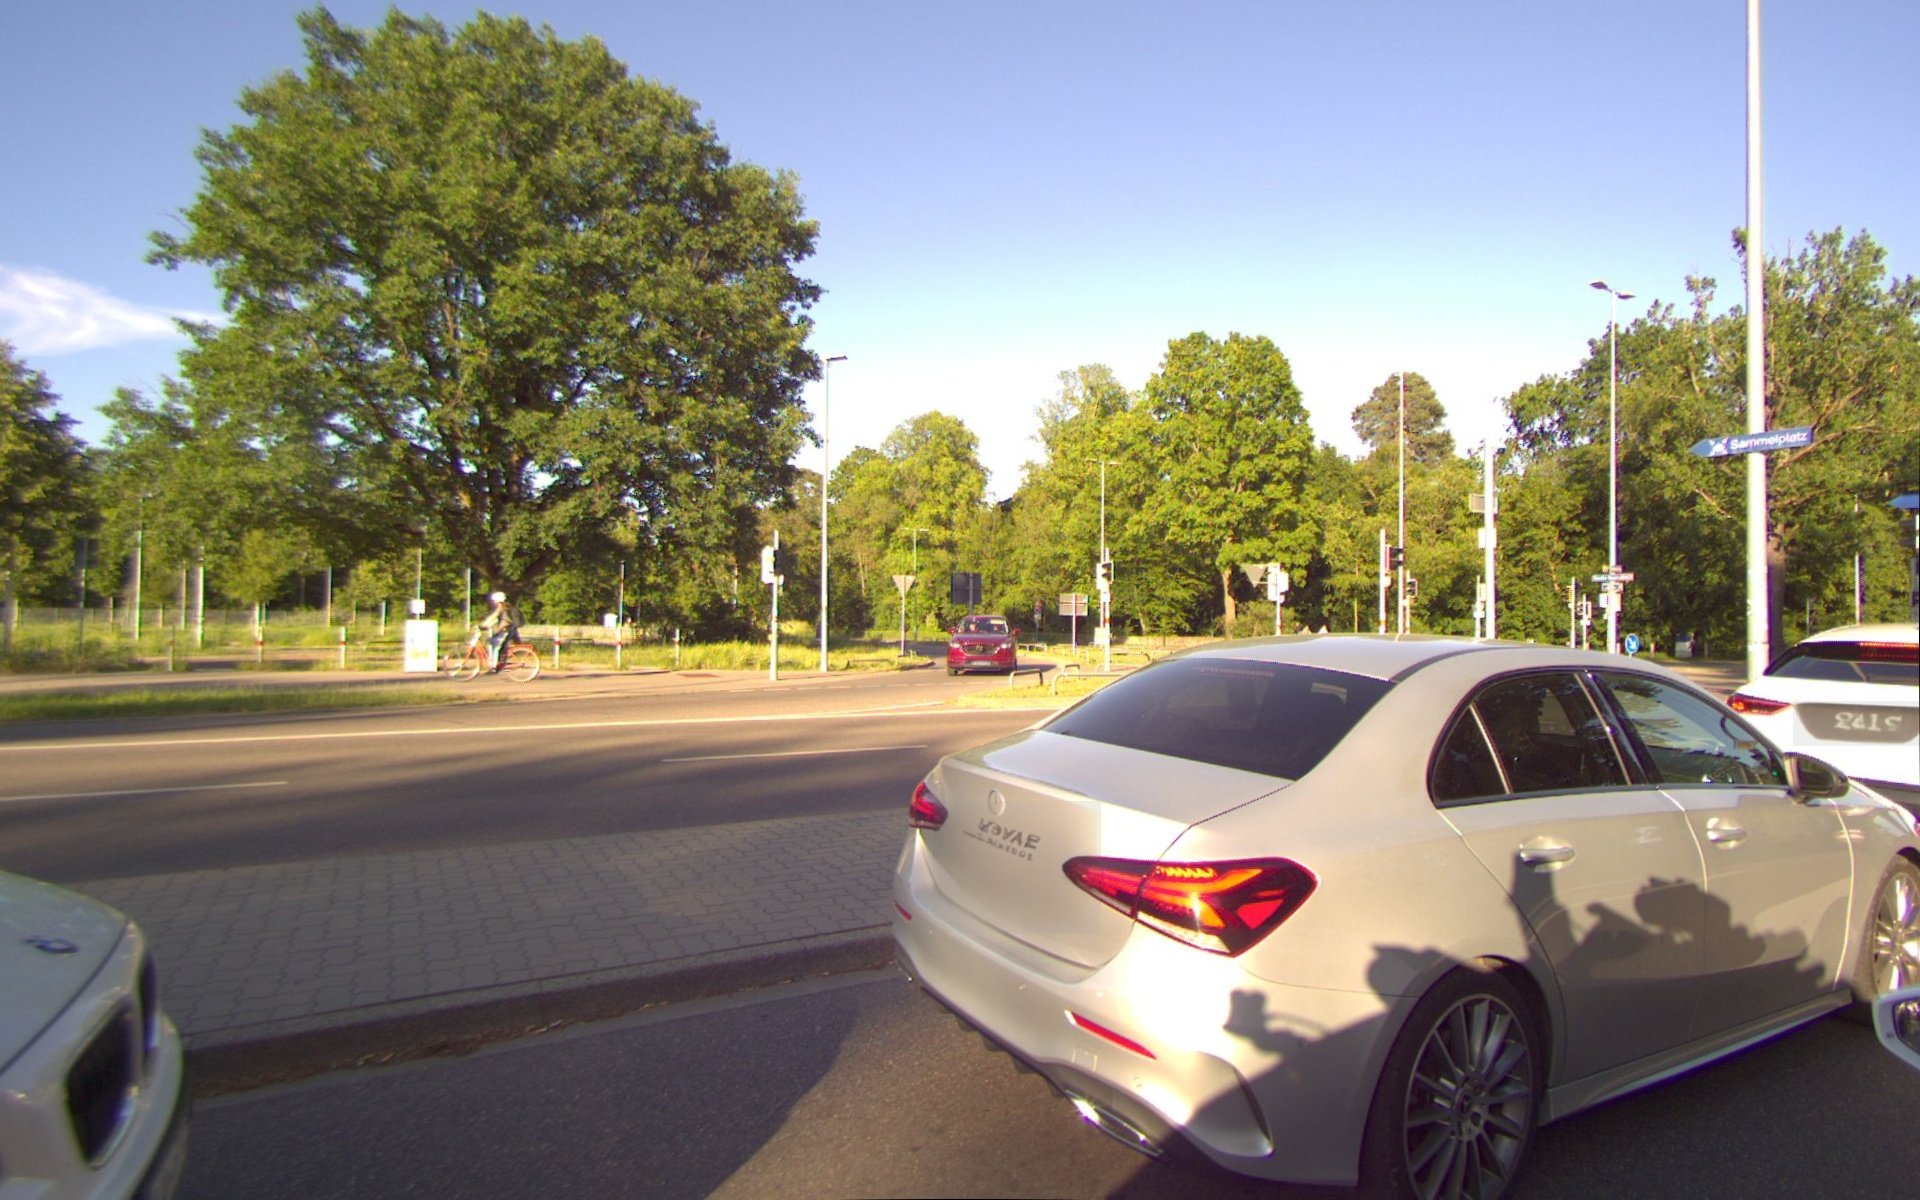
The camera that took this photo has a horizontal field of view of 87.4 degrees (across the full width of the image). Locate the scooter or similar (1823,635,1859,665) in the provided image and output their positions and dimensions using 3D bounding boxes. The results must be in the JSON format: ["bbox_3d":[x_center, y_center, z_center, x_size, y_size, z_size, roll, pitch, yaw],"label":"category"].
[{"bbox_3d":[35.918,2.031,40.960,0.388,1.162,1.065,0,-1,-21],"label":"scooter or similar"}]

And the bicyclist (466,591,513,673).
[{"bbox_3d":[-9.530,0.642,20.353,0.789,1.632,0.679,2,0,-23],"label":"bicyclist"}]

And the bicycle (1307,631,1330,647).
[{"bbox_3d":[23.886,2.587,66.938,0.770,0.990,1.588,2,0,-8],"label":"bicycle"}]

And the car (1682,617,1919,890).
[{"bbox_3d":[7.149,0.928,7.052,4.250,1.533,1.825,1,-1,-30],"label":"car"}]

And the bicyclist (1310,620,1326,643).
[{"bbox_3d":[23.890,2.078,66.995,0.716,1.502,0.799,2,0,-8],"label":"bicyclist"}]

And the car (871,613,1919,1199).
[{"bbox_3d":[1.956,0.815,3.730,4.268,1.446,1.649,1,-1,-31],"label":"car"}]

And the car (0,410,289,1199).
[{"bbox_3d":[-3.149,0.567,0.733,4.270,1.604,1.784,1,-1,-30],"label":"car"}]

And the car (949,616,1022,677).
[{"bbox_3d":[0.625,1.258,28.298,1.855,1.574,4.573,0,-1,-1],"label":"car"}]

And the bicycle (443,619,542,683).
[{"bbox_3d":[-9.462,1.037,20.379,1.770,1.254,0.492,2,0,-24],"label":"bicycle"}]
